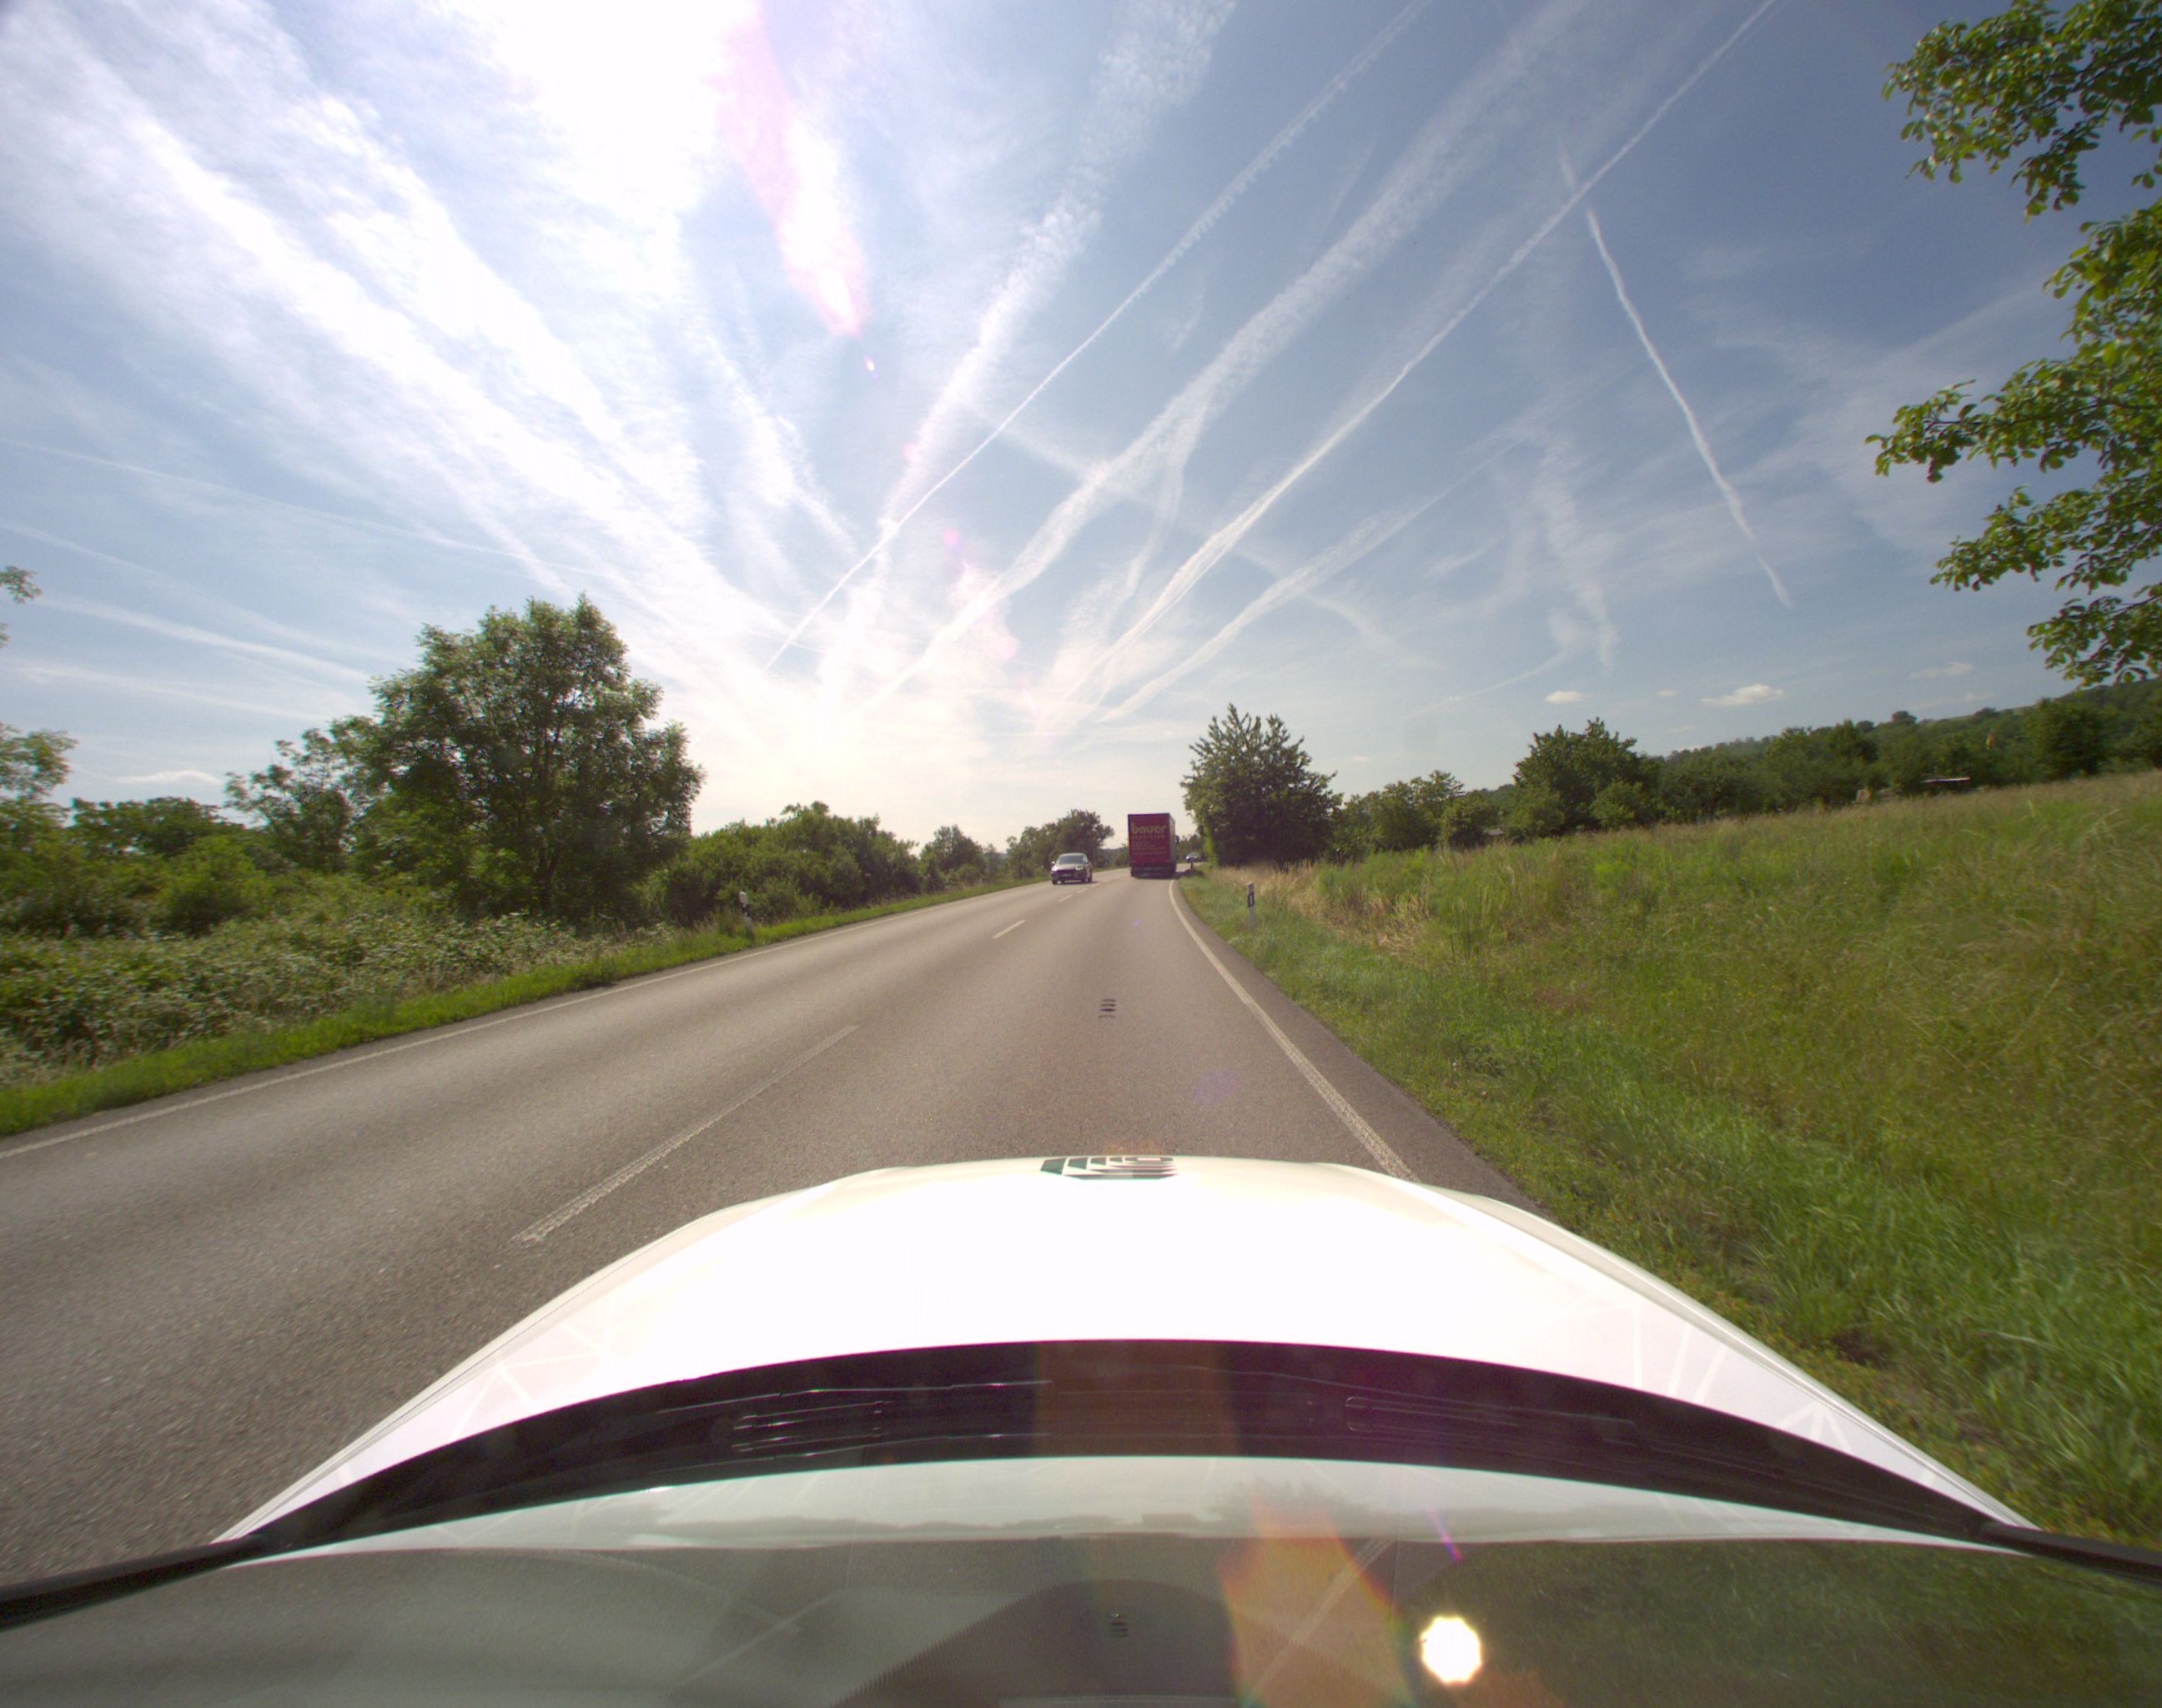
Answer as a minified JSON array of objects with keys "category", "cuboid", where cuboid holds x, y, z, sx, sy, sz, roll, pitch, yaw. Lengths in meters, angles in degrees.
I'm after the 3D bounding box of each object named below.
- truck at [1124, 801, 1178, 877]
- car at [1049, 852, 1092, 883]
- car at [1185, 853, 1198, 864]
[{"category":"truck","cuboid":[4.916,-0.791,54.746,3.095,4.506,12.190,0,-1,7]},{"category":"car","cuboid":[-0.507,0.732,45.413,1.948,1.605,4.406,-2,0,4]},{"category":"car","cuboid":[17.811,0.681,131.219,1.867,1.593,4.504,-2,0,10]}]
